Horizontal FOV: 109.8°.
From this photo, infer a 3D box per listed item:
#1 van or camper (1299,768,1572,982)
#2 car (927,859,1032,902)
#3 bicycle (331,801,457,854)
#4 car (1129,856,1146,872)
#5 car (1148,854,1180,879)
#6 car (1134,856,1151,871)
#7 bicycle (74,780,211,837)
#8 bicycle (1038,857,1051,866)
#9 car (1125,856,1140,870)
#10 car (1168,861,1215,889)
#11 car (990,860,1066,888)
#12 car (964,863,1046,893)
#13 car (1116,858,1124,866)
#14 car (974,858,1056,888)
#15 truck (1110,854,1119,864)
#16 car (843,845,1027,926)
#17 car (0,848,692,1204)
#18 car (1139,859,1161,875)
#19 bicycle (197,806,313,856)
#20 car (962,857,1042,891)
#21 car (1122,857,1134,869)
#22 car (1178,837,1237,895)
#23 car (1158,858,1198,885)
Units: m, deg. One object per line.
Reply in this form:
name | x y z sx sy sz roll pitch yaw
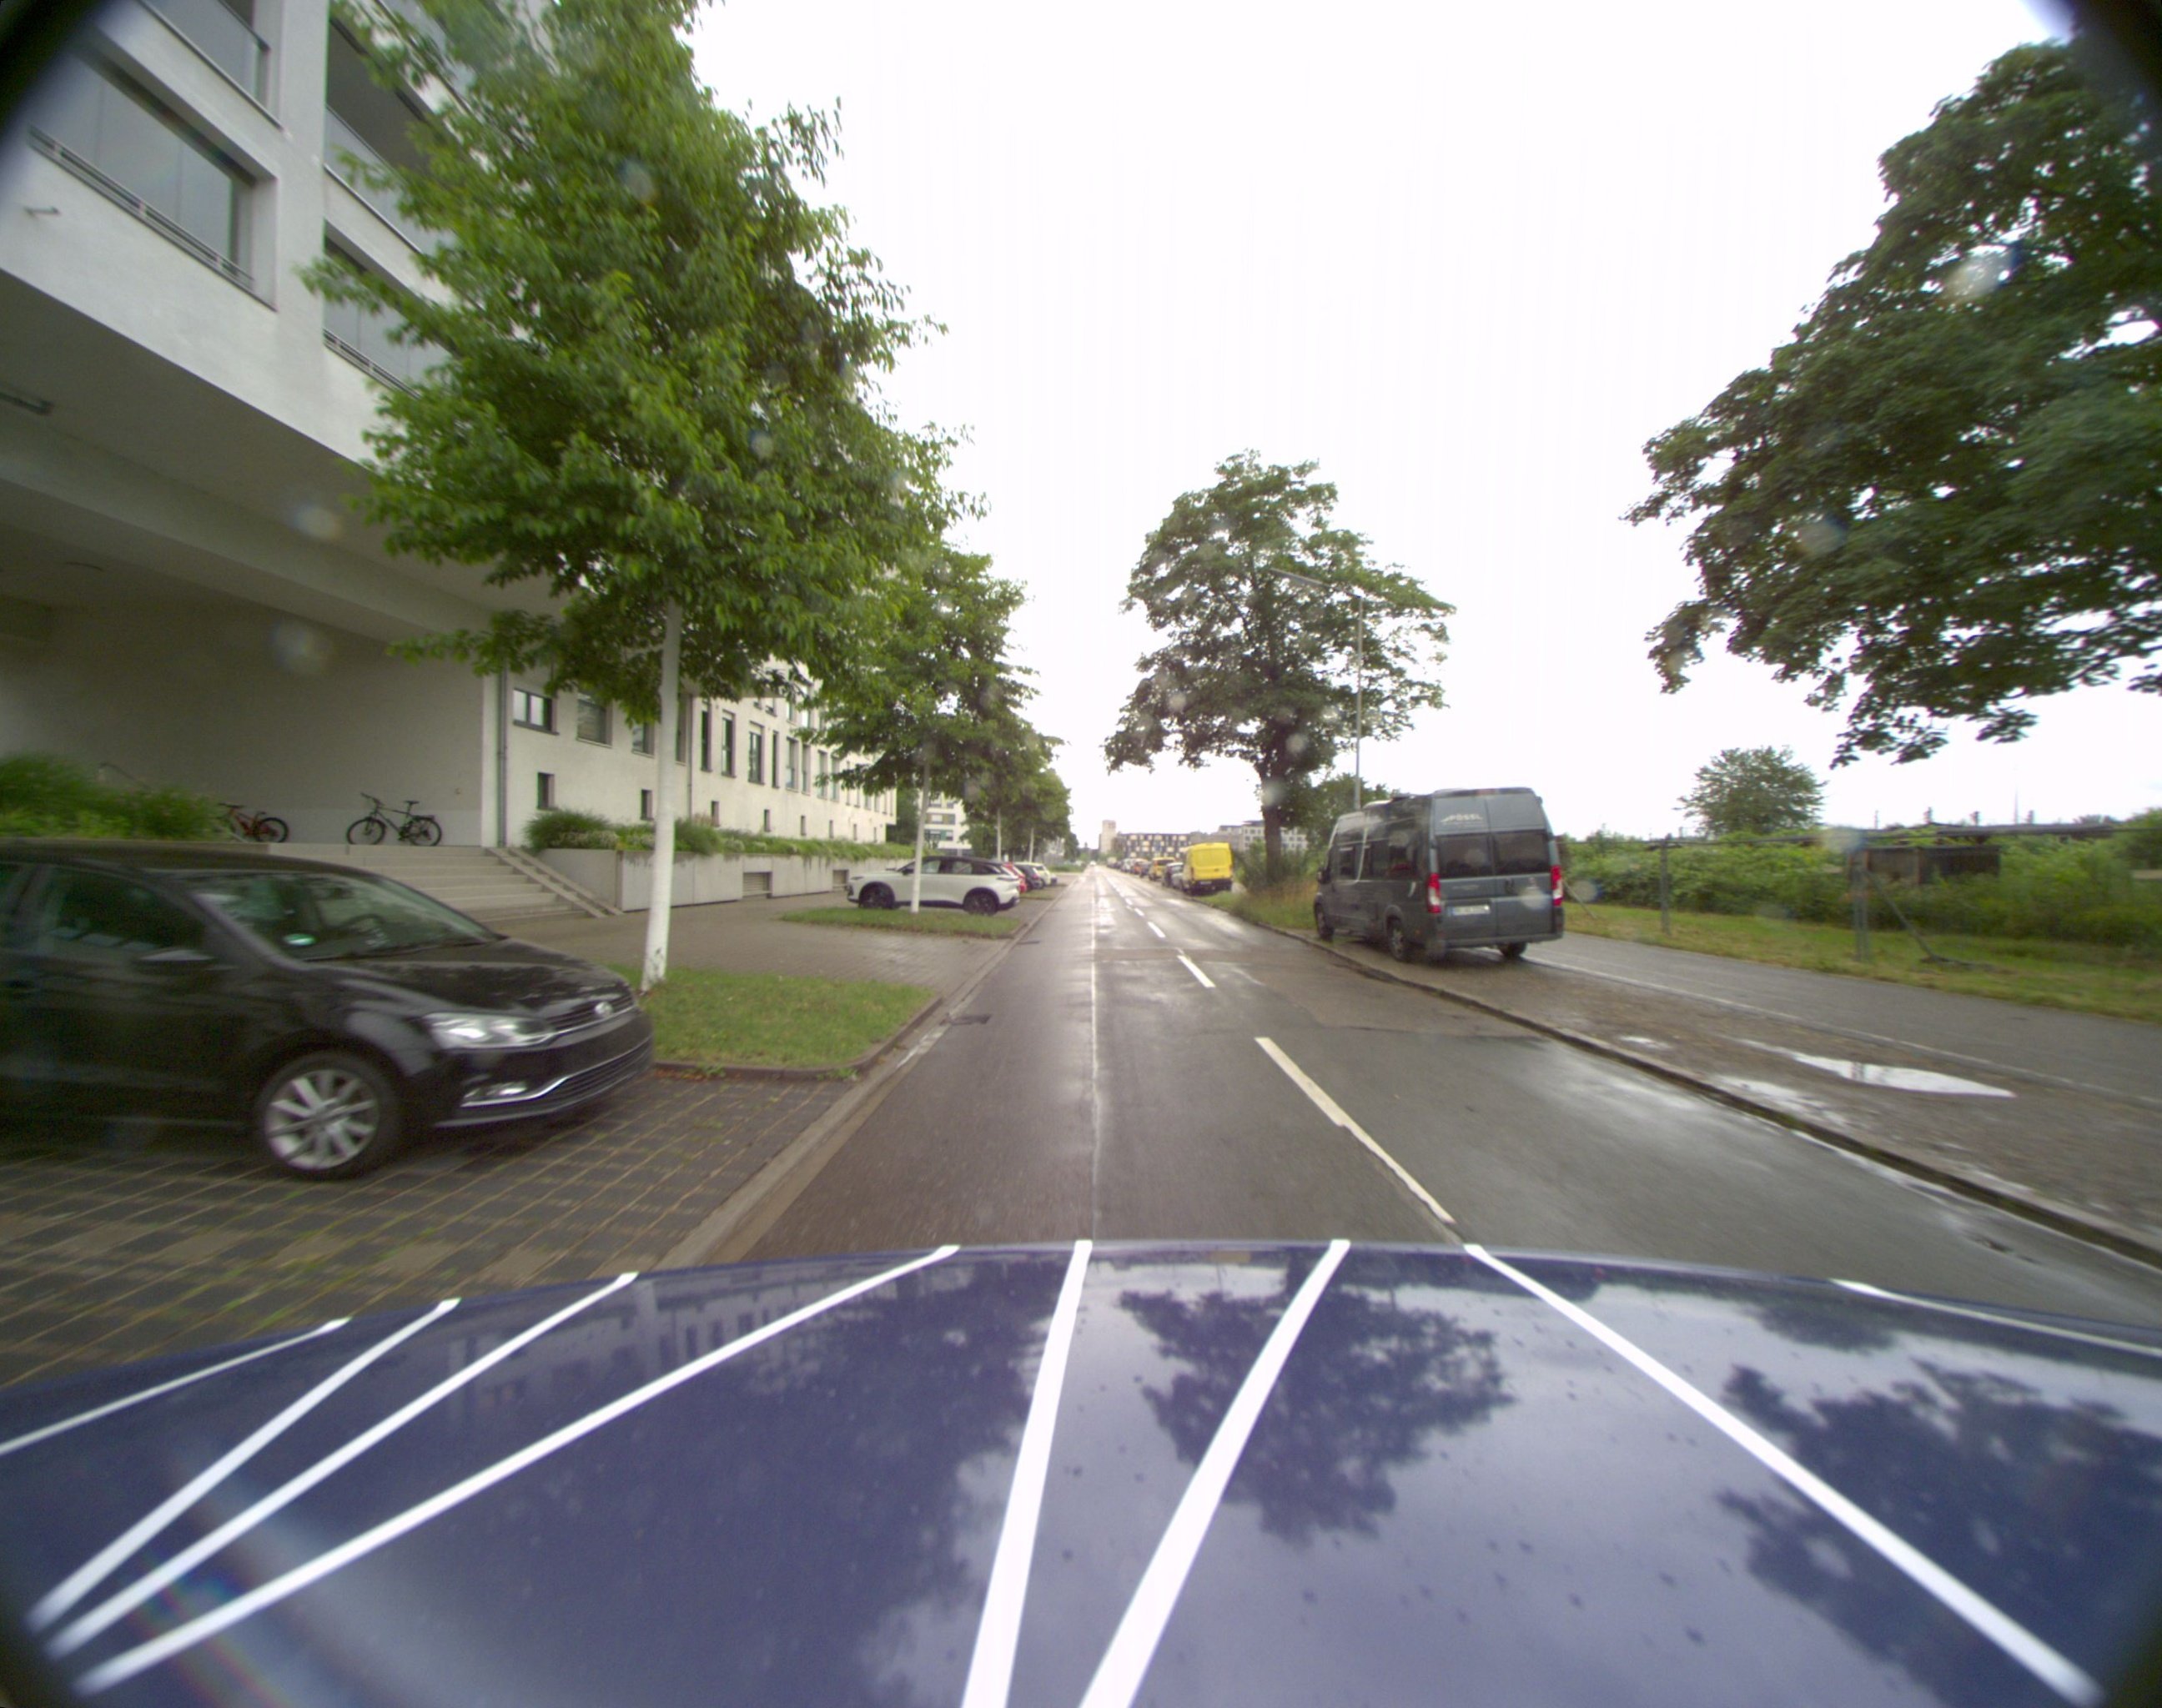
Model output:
van or camper | 6.137 0.294 14.380 2.100 3.076 6.423 -2 0 0
car | -4.078 1.052 30.974 3.997 1.443 1.820 3 1 0
bicycle | -14.054 -0.529 15.575 1.899 1.048 0.723 -1 0 0
car | 7.777 1.377 104.724 1.947 2.223 5.558 0 0 1
car | 6.801 0.994 62.904 2.022 1.945 6.065 -1 0 1
car | 7.464 1.171 92.782 1.944 1.757 4.332 0 0 3
bicycle | -19.331 -0.931 15.680 1.899 1.112 0.723 -1 0 0
bicycle | -6.416 1.402 134.199 2.189 1.513 0.631 2 0 22
car | 7.782 1.321 115.420 1.964 2.046 5.275 0 0 2
car | 6.509 1.189 45.273 2.015 1.426 5.339 -2 0 1
car | -3.306 1.246 48.075 4.582 1.488 1.825 3 0 0
car | -3.811 1.202 38.427 3.967 1.465 1.591 -1 0 -1
car | 8.957 1.860 174.942 1.756 1.683 4.882 0 -1 4
car | -3.762 1.075 43.669 4.498 1.472 1.692 3 0 1
truck | 9.618 1.418 219.513 2.442 3.050 6.700 -1 0 1
car | -3.881 0.825 20.780 4.551 1.675 1.885 5 0 -2
car | -4.625 0.731 4.141 3.998 1.487 1.937 1 -1 -2
car | 6.824 1.276 75.590 1.808 1.552 4.033 -2 -1 1
bicycle | -17.144 -0.467 15.782 1.899 1.001 0.447 -1 0 0
car | -4.192 1.041 40.828 3.996 1.546 1.635 3 0 1
car | 7.973 1.523 128.969 1.960 1.890 4.995 0 0 1
car | 6.374 0.582 39.000 2.197 2.678 6.082 -2 0 3
car | 6.399 1.126 50.610 1.998 1.585 5.017 -2 0 0
